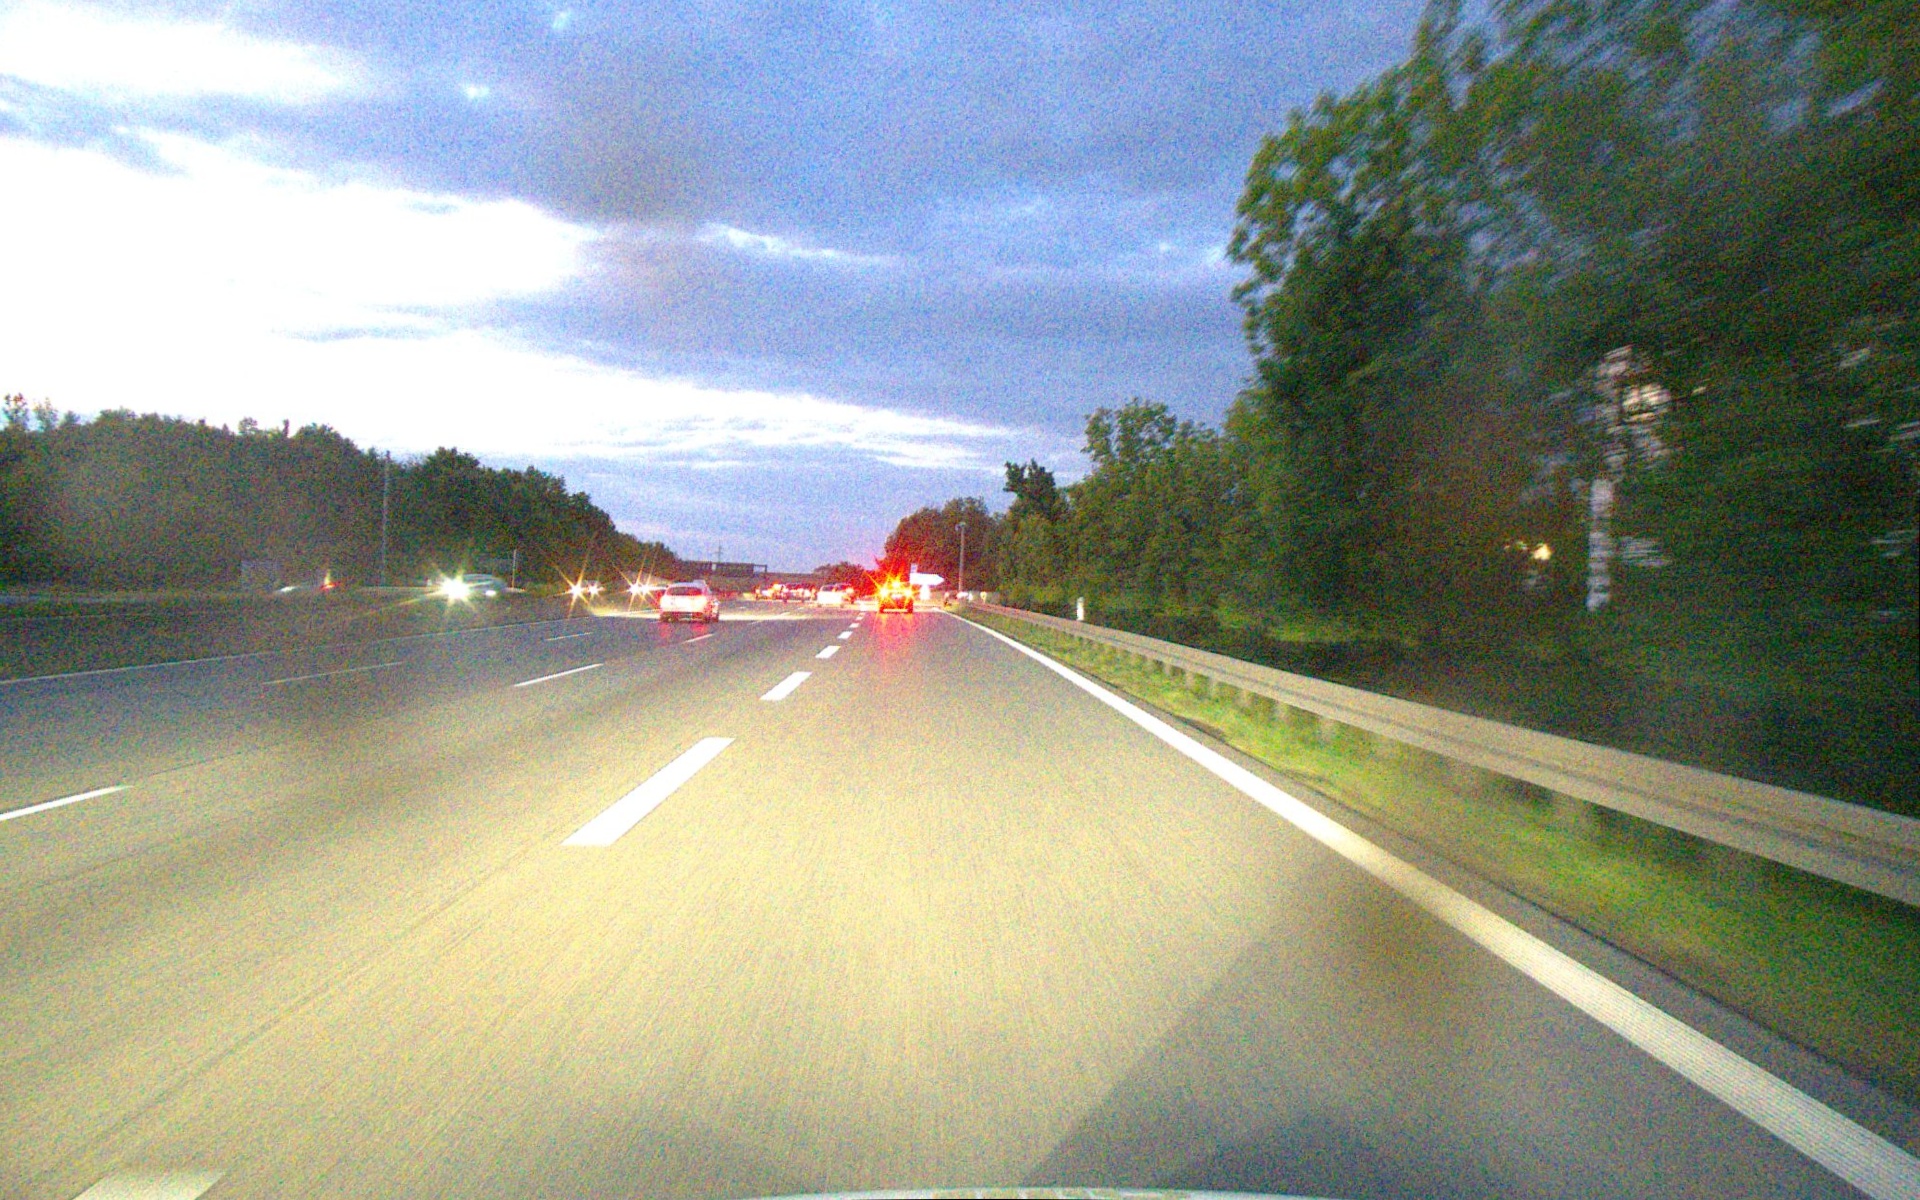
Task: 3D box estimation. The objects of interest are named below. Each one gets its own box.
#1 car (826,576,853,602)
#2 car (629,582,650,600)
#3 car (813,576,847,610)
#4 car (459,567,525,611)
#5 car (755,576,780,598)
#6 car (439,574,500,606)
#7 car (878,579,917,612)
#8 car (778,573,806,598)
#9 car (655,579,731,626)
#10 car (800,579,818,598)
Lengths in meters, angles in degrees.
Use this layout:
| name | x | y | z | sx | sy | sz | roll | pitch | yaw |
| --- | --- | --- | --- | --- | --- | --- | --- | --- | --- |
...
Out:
| name | x | y | z | sx | sy | sz | roll | pitch | yaw |
| --- | --- | --- | --- | --- | --- | --- | --- | --- | --- |
| car | -9.645 | -0.866 | 132.276 | 1.953 | 2.049 | 3.999 | 0 | 0 | -1 |
| car | -38.085 | -1.053 | 196.633 | 1.988 | 2.049 | 4.234 | 1 | 0 | -5 |
| car | -8.198 | -0.452 | 104.612 | 1.953 | 2.049 | 3.998 | 1 | 0 | -2 |
| car | -22.535 | -0.550 | 79.778 | 1.953 | 2.049 | 4.488 | 1 | 0 | -1 |
| car | -18.635 | -1.285 | 160.116 | 2.062 | 2.049 | 3.999 | 0 | 0 | -2 |
| car | -26.790 | -0.563 | 90.501 | 1.953 | 1.693 | 5.009 | 1 | 0 | -2 |
| car | -3.381 | -0.265 | 88.965 | 1.954 | 1.688 | 4.311 | 1 | 0 | -4 |
| car | -14.201 | -1.253 | 139.857 | 2.029 | 2.049 | 3.999 | 0 | 0 | -1 |
| car | -9.847 | 0.079 | 61.277 | 1.952 | 1.671 | 4.555 | 0 | 0 | 1 |
| car | -16.683 | -1.273 | 183.125 | 1.955 | 2.049 | 3.995 | 1 | 0 | -5 |
